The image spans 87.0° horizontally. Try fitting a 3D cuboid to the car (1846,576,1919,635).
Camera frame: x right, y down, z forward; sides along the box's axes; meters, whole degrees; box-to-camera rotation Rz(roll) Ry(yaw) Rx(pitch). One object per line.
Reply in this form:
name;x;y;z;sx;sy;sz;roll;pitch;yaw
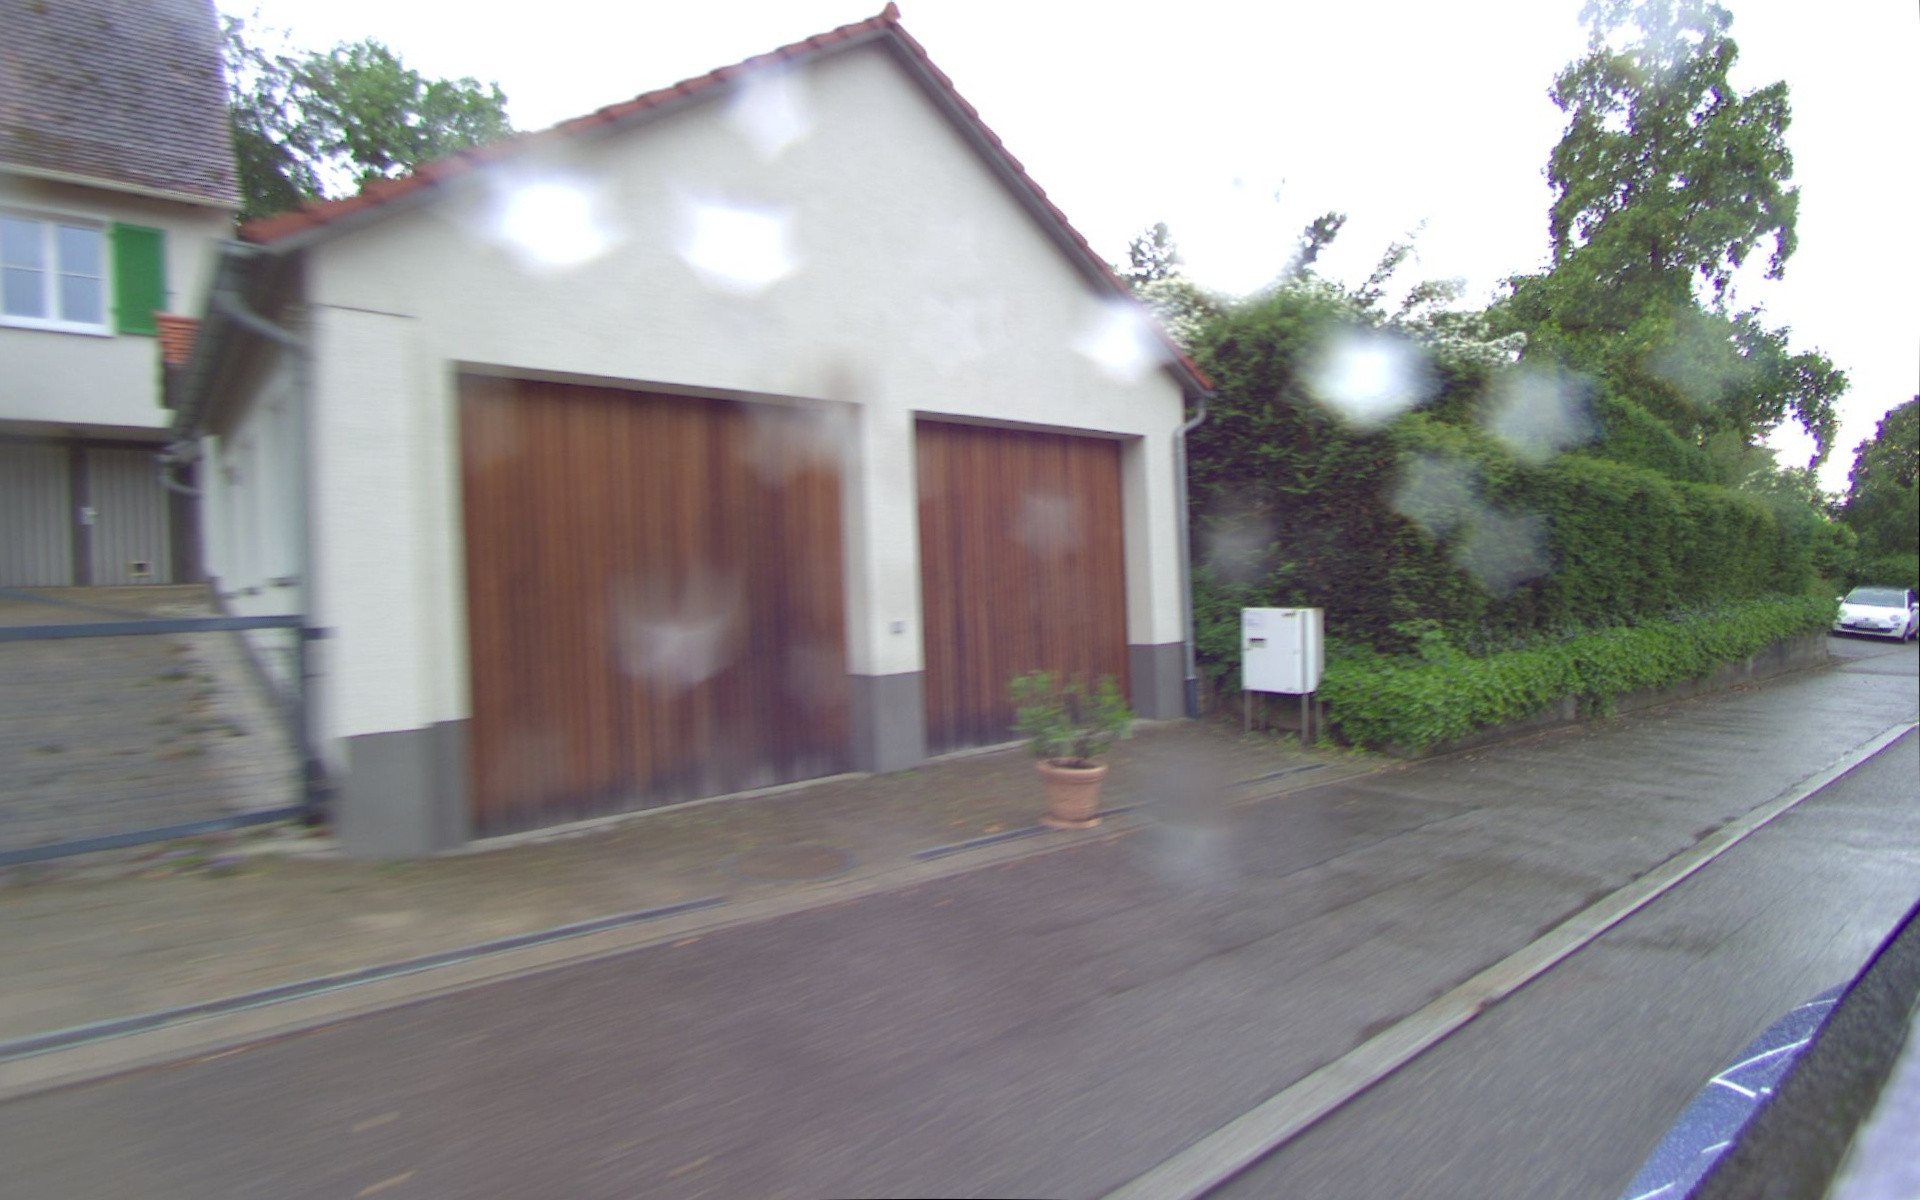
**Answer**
car;26.691;0.141;28.853;3.776;1.554;1.535;0;2;-40
